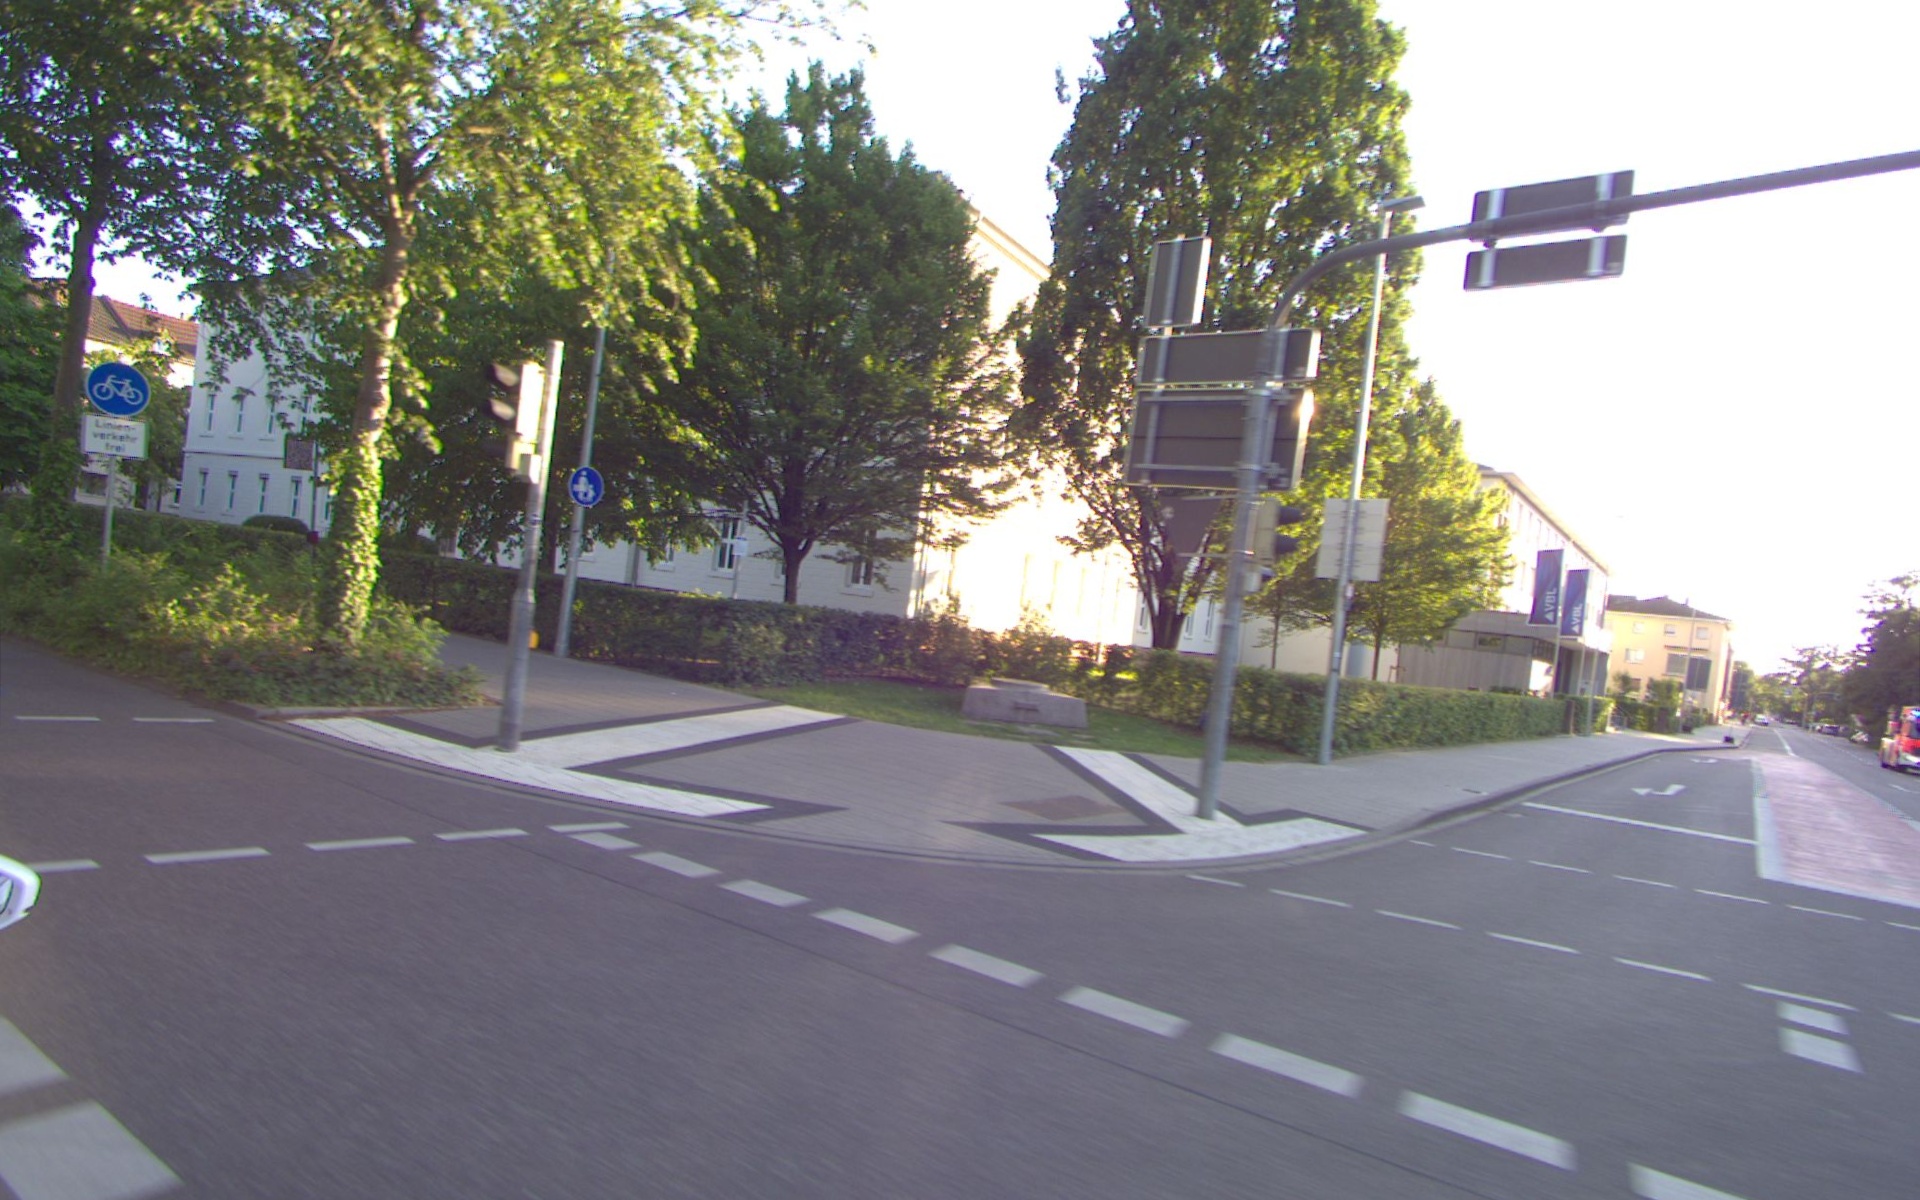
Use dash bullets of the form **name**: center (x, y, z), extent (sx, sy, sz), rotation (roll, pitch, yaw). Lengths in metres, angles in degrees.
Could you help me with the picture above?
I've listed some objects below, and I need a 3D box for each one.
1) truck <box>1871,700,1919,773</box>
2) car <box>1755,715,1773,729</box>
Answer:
- **truck**: center (46.259, 6.620, 48.109), extent (2.600, 3.177, 10.244), rotation (6, -1, 36)
- **car**: center (138.793, 21.004, 173.555), extent (1.973, 2.038, 3.980), rotation (7, -1, 43)
